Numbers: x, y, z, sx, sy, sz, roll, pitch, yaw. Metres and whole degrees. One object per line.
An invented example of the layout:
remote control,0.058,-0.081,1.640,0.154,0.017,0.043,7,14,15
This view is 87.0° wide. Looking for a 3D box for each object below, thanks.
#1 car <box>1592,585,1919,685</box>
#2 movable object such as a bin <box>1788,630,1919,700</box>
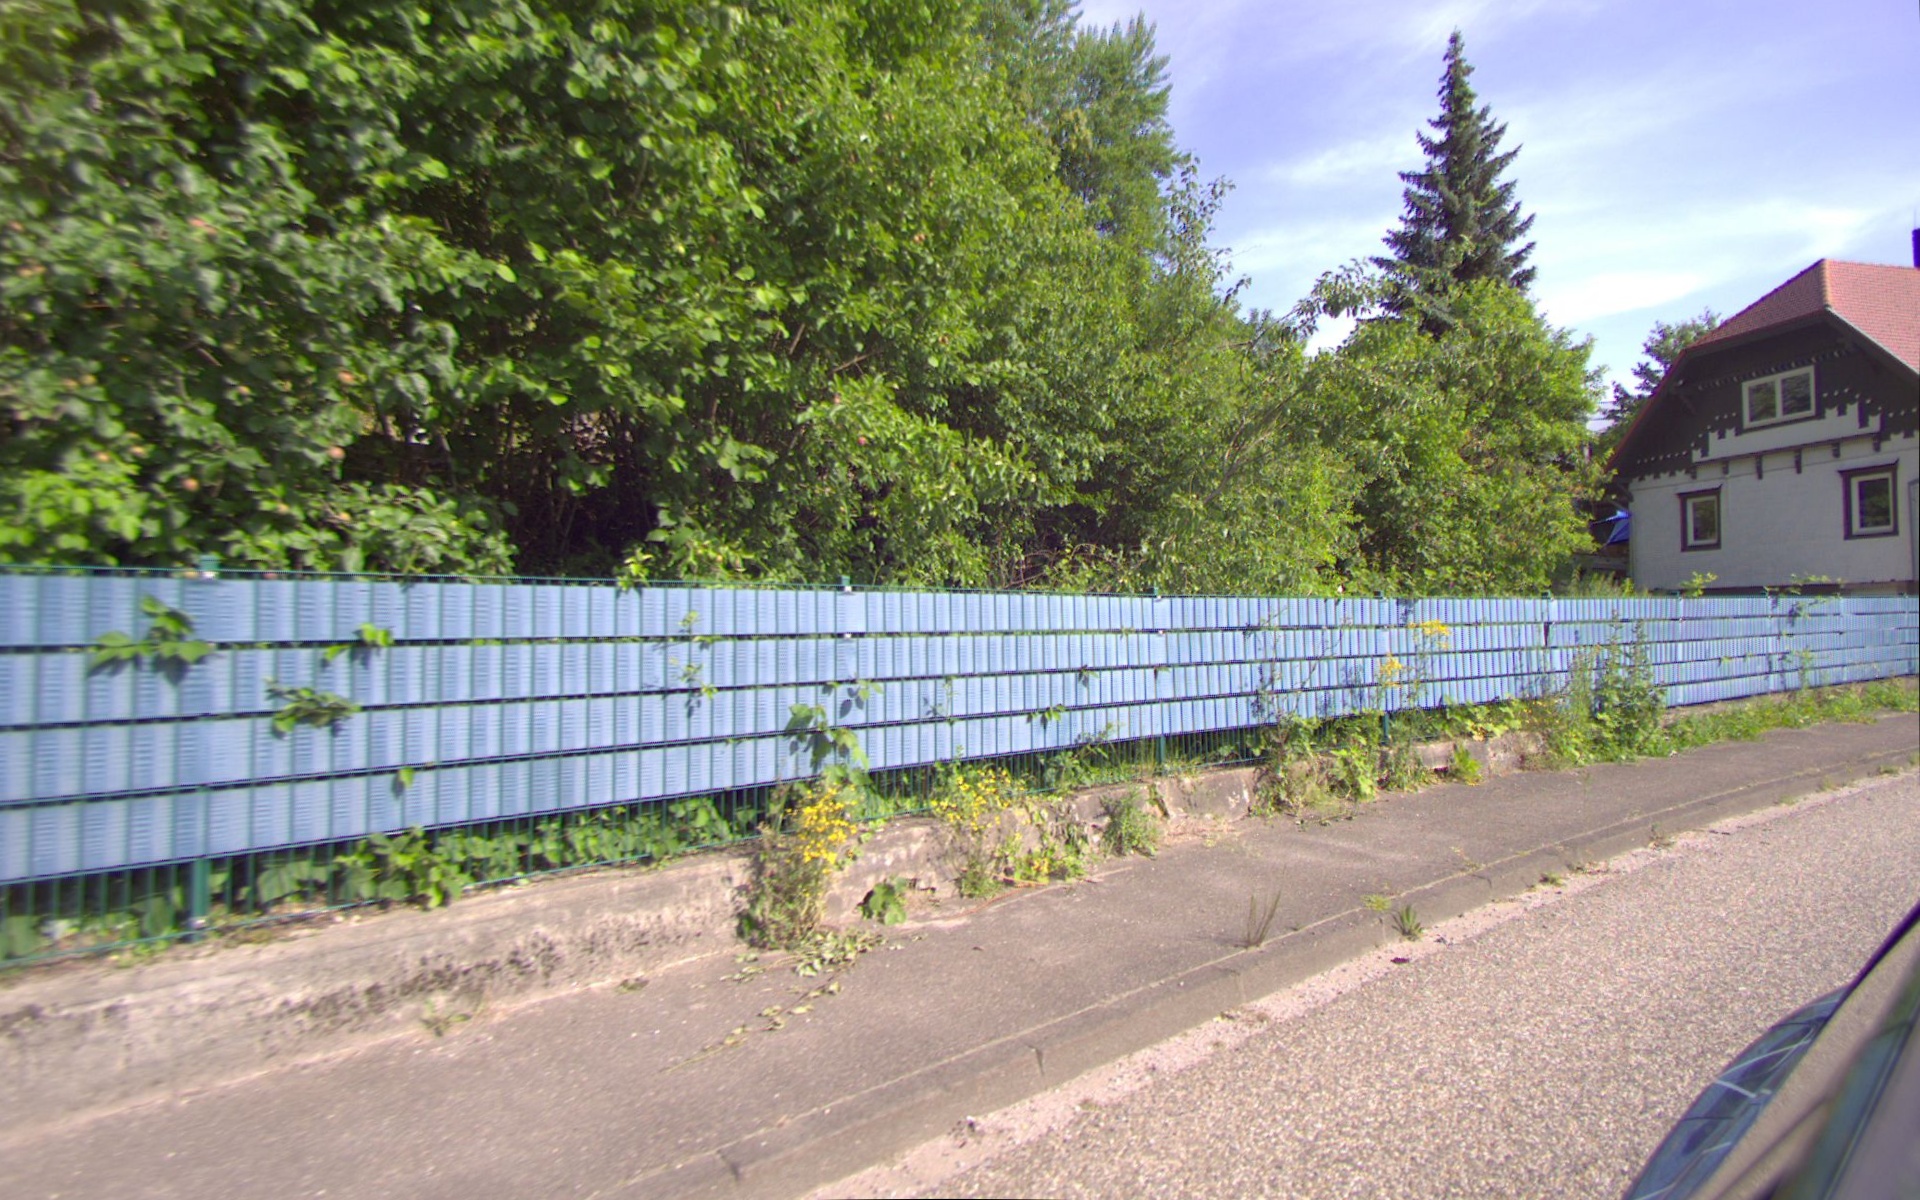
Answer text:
car,13.305,0.575,17.068,4.306,1.488,1.812,-1,-2,39
movable object such as a bin,13.016,0.887,14.202,2.485,0.858,0.859,-1,-2,-16
